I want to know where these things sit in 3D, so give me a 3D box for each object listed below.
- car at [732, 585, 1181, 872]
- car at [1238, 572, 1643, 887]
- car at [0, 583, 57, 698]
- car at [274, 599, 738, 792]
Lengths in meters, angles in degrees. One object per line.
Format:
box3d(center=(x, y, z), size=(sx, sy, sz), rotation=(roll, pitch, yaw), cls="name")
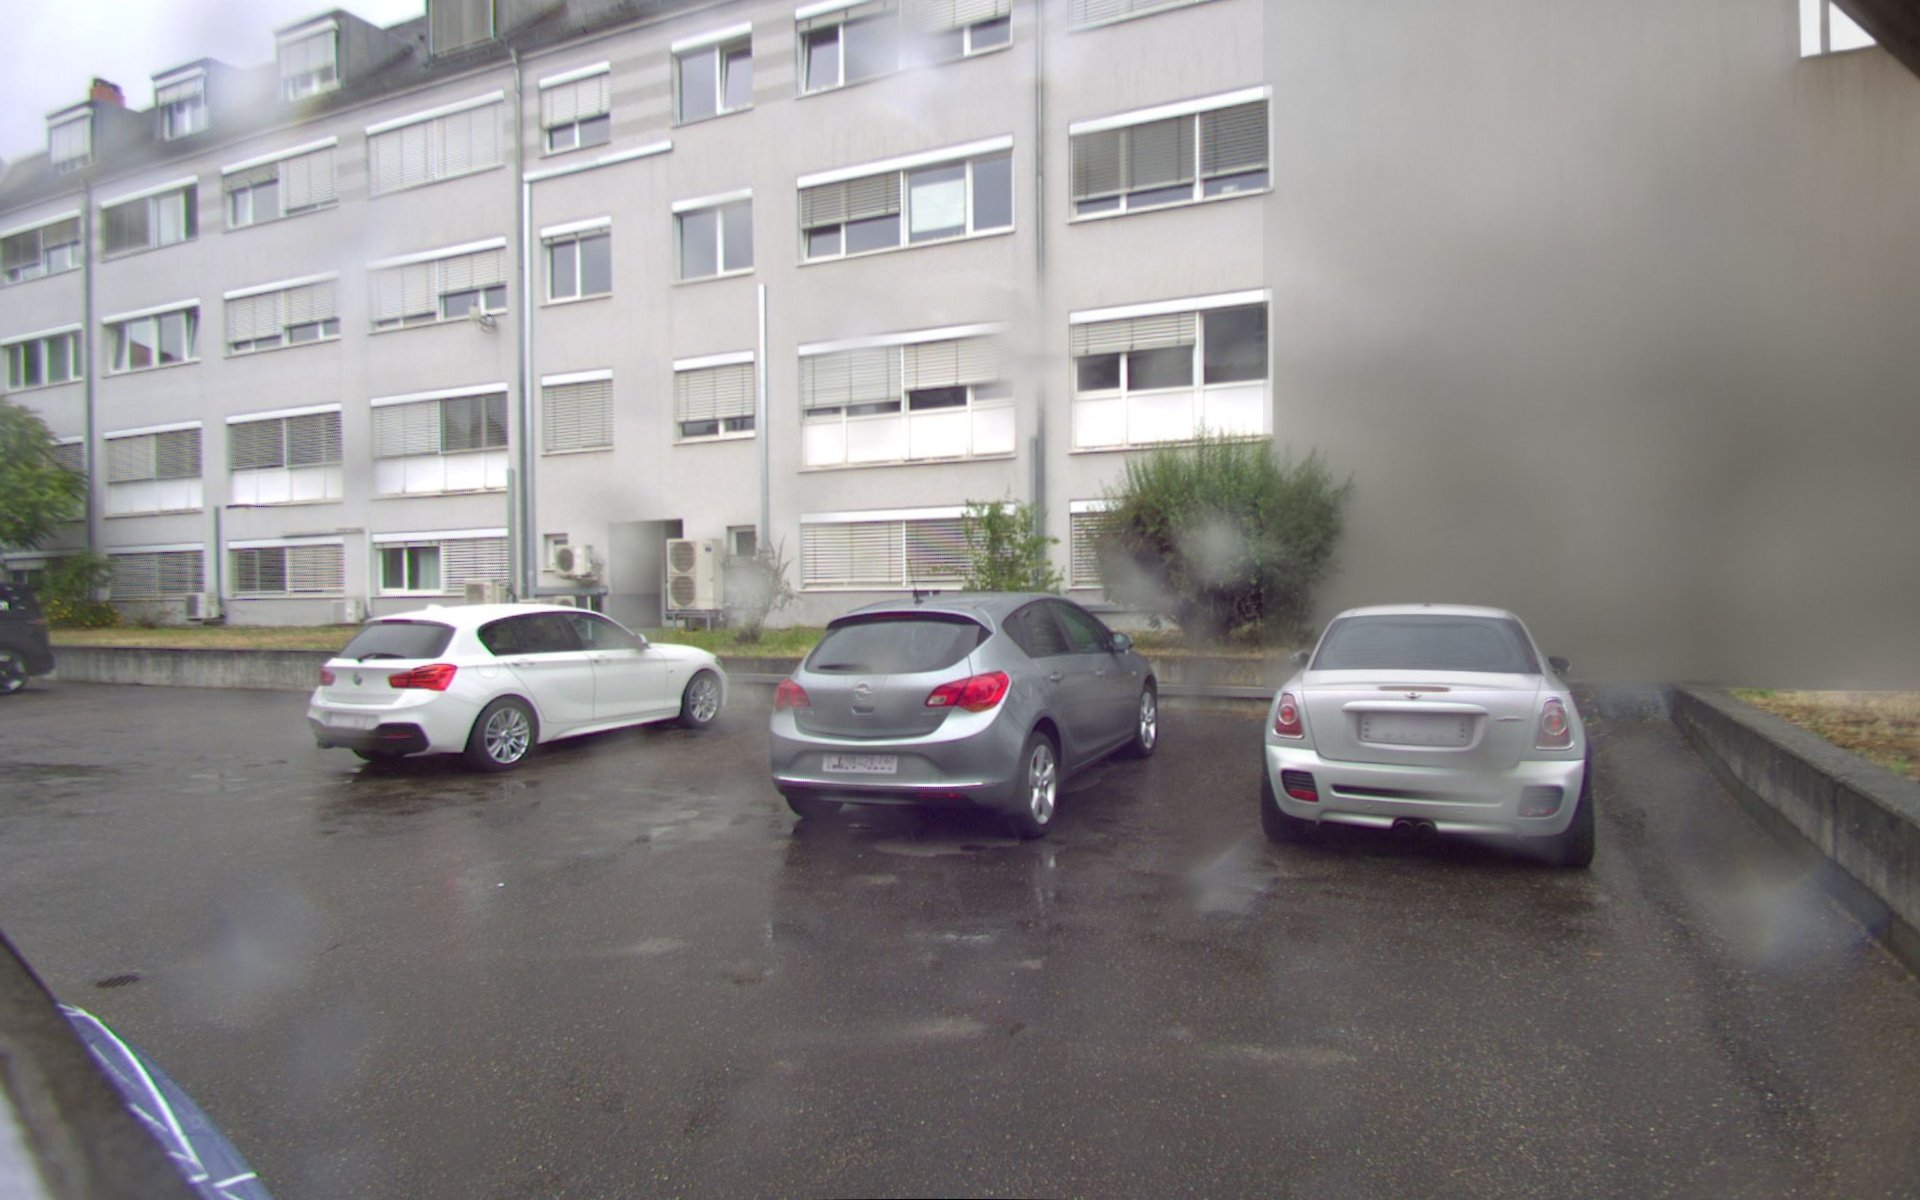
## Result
box3d(center=(0.312, 0.663, 7.551), size=(1.811, 1.495, 4.146), rotation=(-1, 0, 24), cls="car")
box3d(center=(3.214, 0.573, 6.963), size=(1.812, 1.343, 4.144), rotation=(-2, 2, 25), cls="car")
box3d(center=(-16.947, 0.707, 15.234), size=(1.974, 1.850, 4.599), rotation=(-2, 0, 21), cls="car")
box3d(center=(-4.153, 0.735, 10.039), size=(1.742, 1.444, 4.120), rotation=(0, 1, 24), cls="car")
